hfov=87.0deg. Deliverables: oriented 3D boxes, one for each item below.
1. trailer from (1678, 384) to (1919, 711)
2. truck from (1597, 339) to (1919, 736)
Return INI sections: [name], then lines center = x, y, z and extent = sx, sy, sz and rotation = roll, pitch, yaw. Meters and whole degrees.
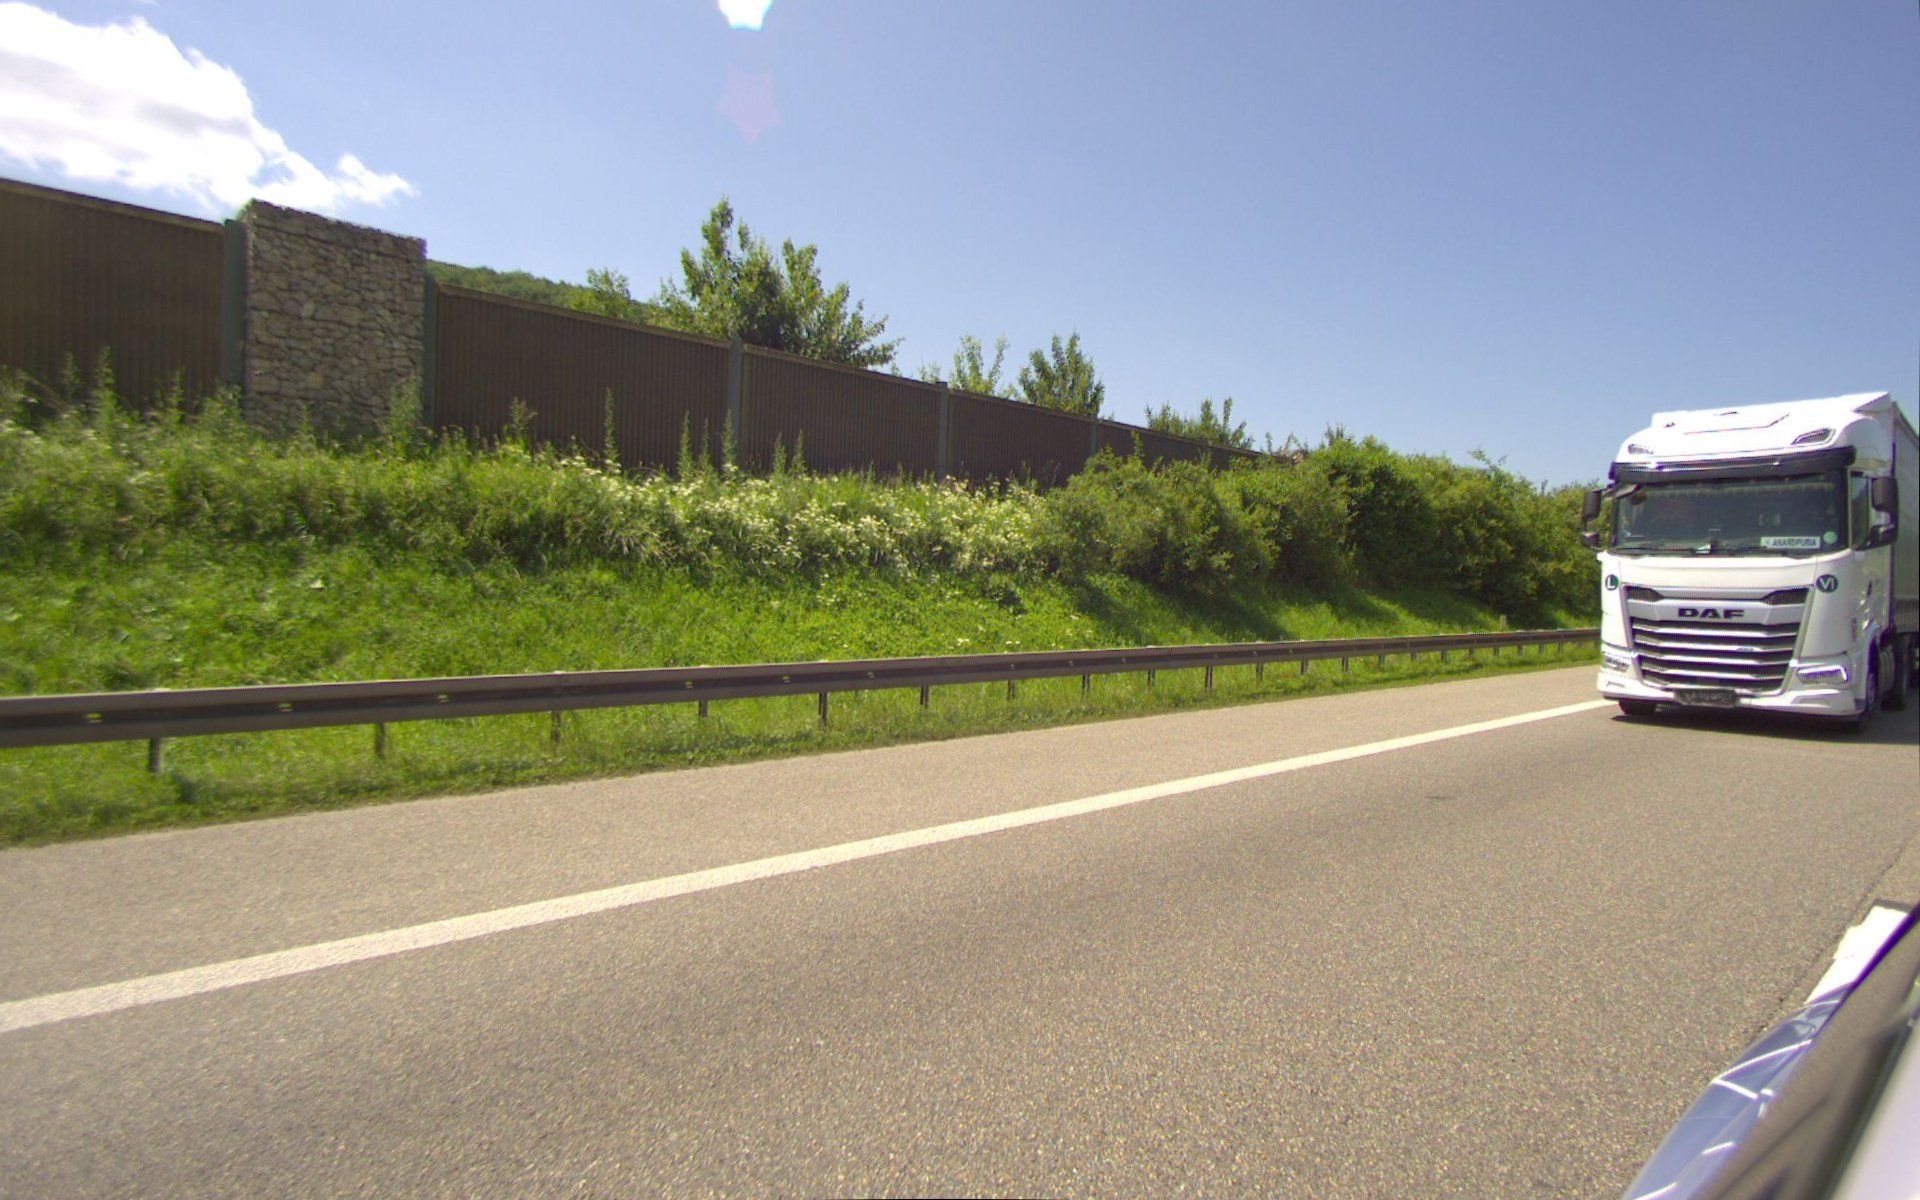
[trailer]
center = 15.913, -0.687, 17.918
extent = 13.423, 4.027, 2.481
rotation = 0, 1, -43
[truck]
center = 10.782, -0.660, 13.319
extent = 6.272, 4.027, 2.481
rotation = 0, 1, -43
